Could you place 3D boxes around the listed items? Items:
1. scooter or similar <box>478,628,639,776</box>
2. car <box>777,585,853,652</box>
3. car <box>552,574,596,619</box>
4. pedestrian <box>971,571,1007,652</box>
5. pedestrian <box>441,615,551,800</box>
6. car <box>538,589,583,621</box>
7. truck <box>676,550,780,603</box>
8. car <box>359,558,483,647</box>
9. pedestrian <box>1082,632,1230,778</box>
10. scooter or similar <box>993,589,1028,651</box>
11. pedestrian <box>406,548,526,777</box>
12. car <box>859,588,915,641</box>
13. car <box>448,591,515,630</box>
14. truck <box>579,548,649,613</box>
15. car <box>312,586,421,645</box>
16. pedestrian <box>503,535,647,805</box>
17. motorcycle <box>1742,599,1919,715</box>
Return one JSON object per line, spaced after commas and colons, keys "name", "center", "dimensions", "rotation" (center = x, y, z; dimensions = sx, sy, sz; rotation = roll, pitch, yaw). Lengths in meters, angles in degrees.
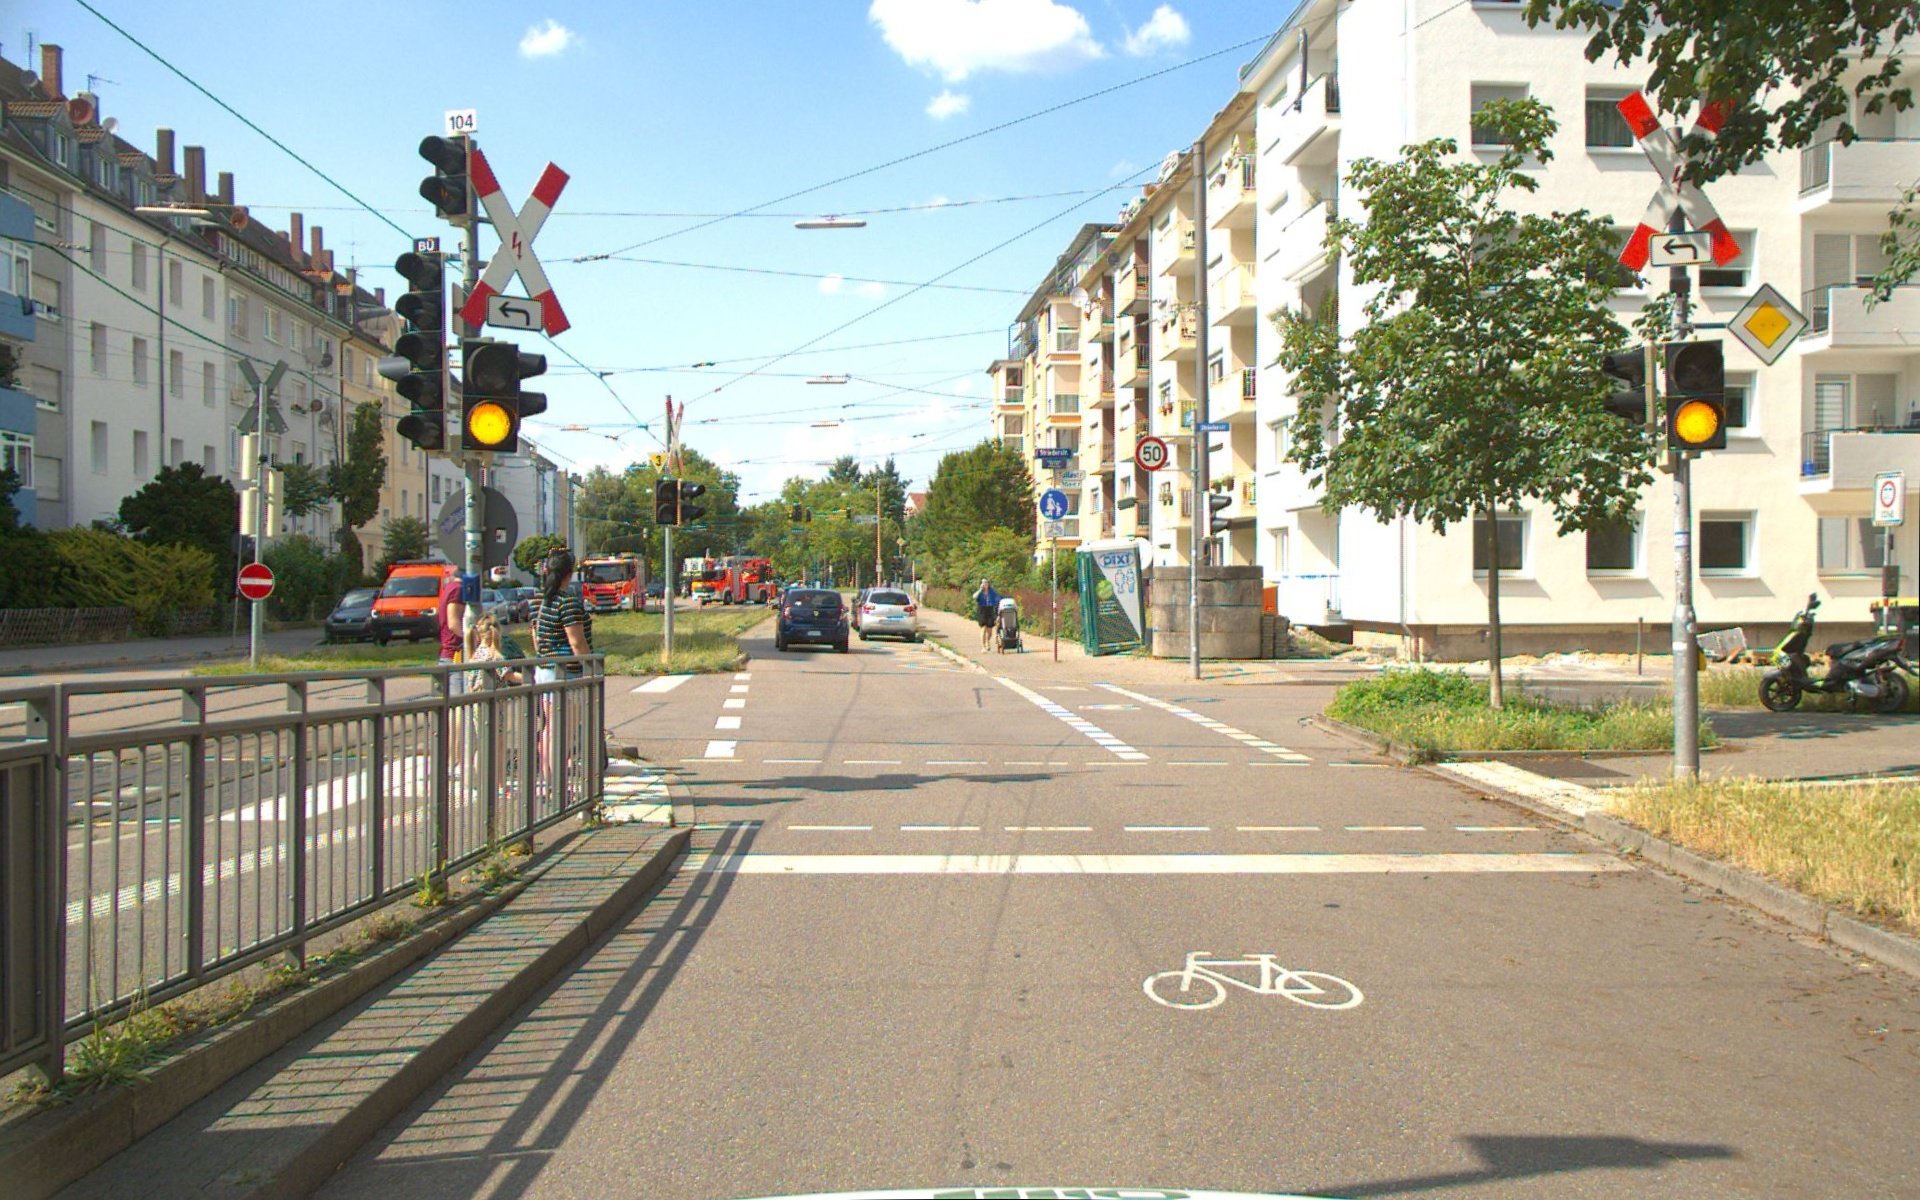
{"name": "scooter or similar", "center": [-3.044, 0.766, 12.611], "dimensions": [1.078, 1.074, 0.650], "rotation": [1, 0, -4]}
{"name": "car", "center": [-3.535, 0.435, 40.961], "dimensions": [1.709, 1.533, 3.997], "rotation": [1, 0, -3]}
{"name": "car", "center": [-21.612, -0.194, 92.781], "dimensions": [1.742, 2.441, 4.689], "rotation": [1, 0, -6]}
{"name": "pedestrian", "center": [0.665, 0.258, 38.259], "dimensions": [0.687, 1.820, 1.029], "rotation": [-3, 0, -3]}
{"name": "pedestrian", "center": [-3.196, 0.712, 11.354], "dimensions": [0.628, 1.201, 0.793], "rotation": [-1, 0, -23]}
{"name": "car", "center": [-20.877, 0.254, 86.487], "dimensions": [1.742, 1.584, 3.995], "rotation": [1, 0, -6]}
{"name": "truck", "center": [-16.702, -1.645, 120.233], "dimensions": [2.613, 3.531, 10.165], "rotation": [1, 0, 23]}
{"name": "car", "center": [-14.856, 0.044, 45.852], "dimensions": [1.953, 2.315, 4.832], "rotation": [0, 0, -2]}
{"name": "pedestrian", "center": [3.067, 1.605, 26.605], "dimensions": [1.952, 2.049, 4.001], "rotation": [1, 0, 1]}
{"name": "scooter or similar", "center": [1.137, 0.442, 37.408], "dimensions": [0.649, 1.326, 0.868], "rotation": [-4, 1, -4]}
{"name": "pedestrian", "center": [-3.736, 0.462, 12.556], "dimensions": [0.691, 1.677, 0.636], "rotation": [2, 0, -3]}
{"name": "car", "center": [-2.222, 0.414, 49.782], "dimensions": [1.590, 1.490, 3.508], "rotation": [1, 0, -3]}
{"name": "car", "center": [-18.965, 0.416, 65.648], "dimensions": [1.733, 1.467, 3.996], "rotation": [1, 0, -5]}
{"name": "truck", "center": [-18.196, -1.007, 87.314], "dimensions": [2.545, 3.241, 8.374], "rotation": [0, 0, -5]}
{"name": "car", "center": [-17.772, 0.448, 49.692], "dimensions": [1.954, 1.673, 3.998], "rotation": [1, 0, -3]}
{"name": "pedestrian", "center": [-2.552, 0.438, 10.921], "dimensions": [0.833, 1.697, 0.794], "rotation": [-1, 0, -19]}
{"name": "motorcycle", "center": [10.134, 0.646, 19.206], "dimensions": [0.565, 1.236, 1.826], "rotation": [-5, 2, -33]}
